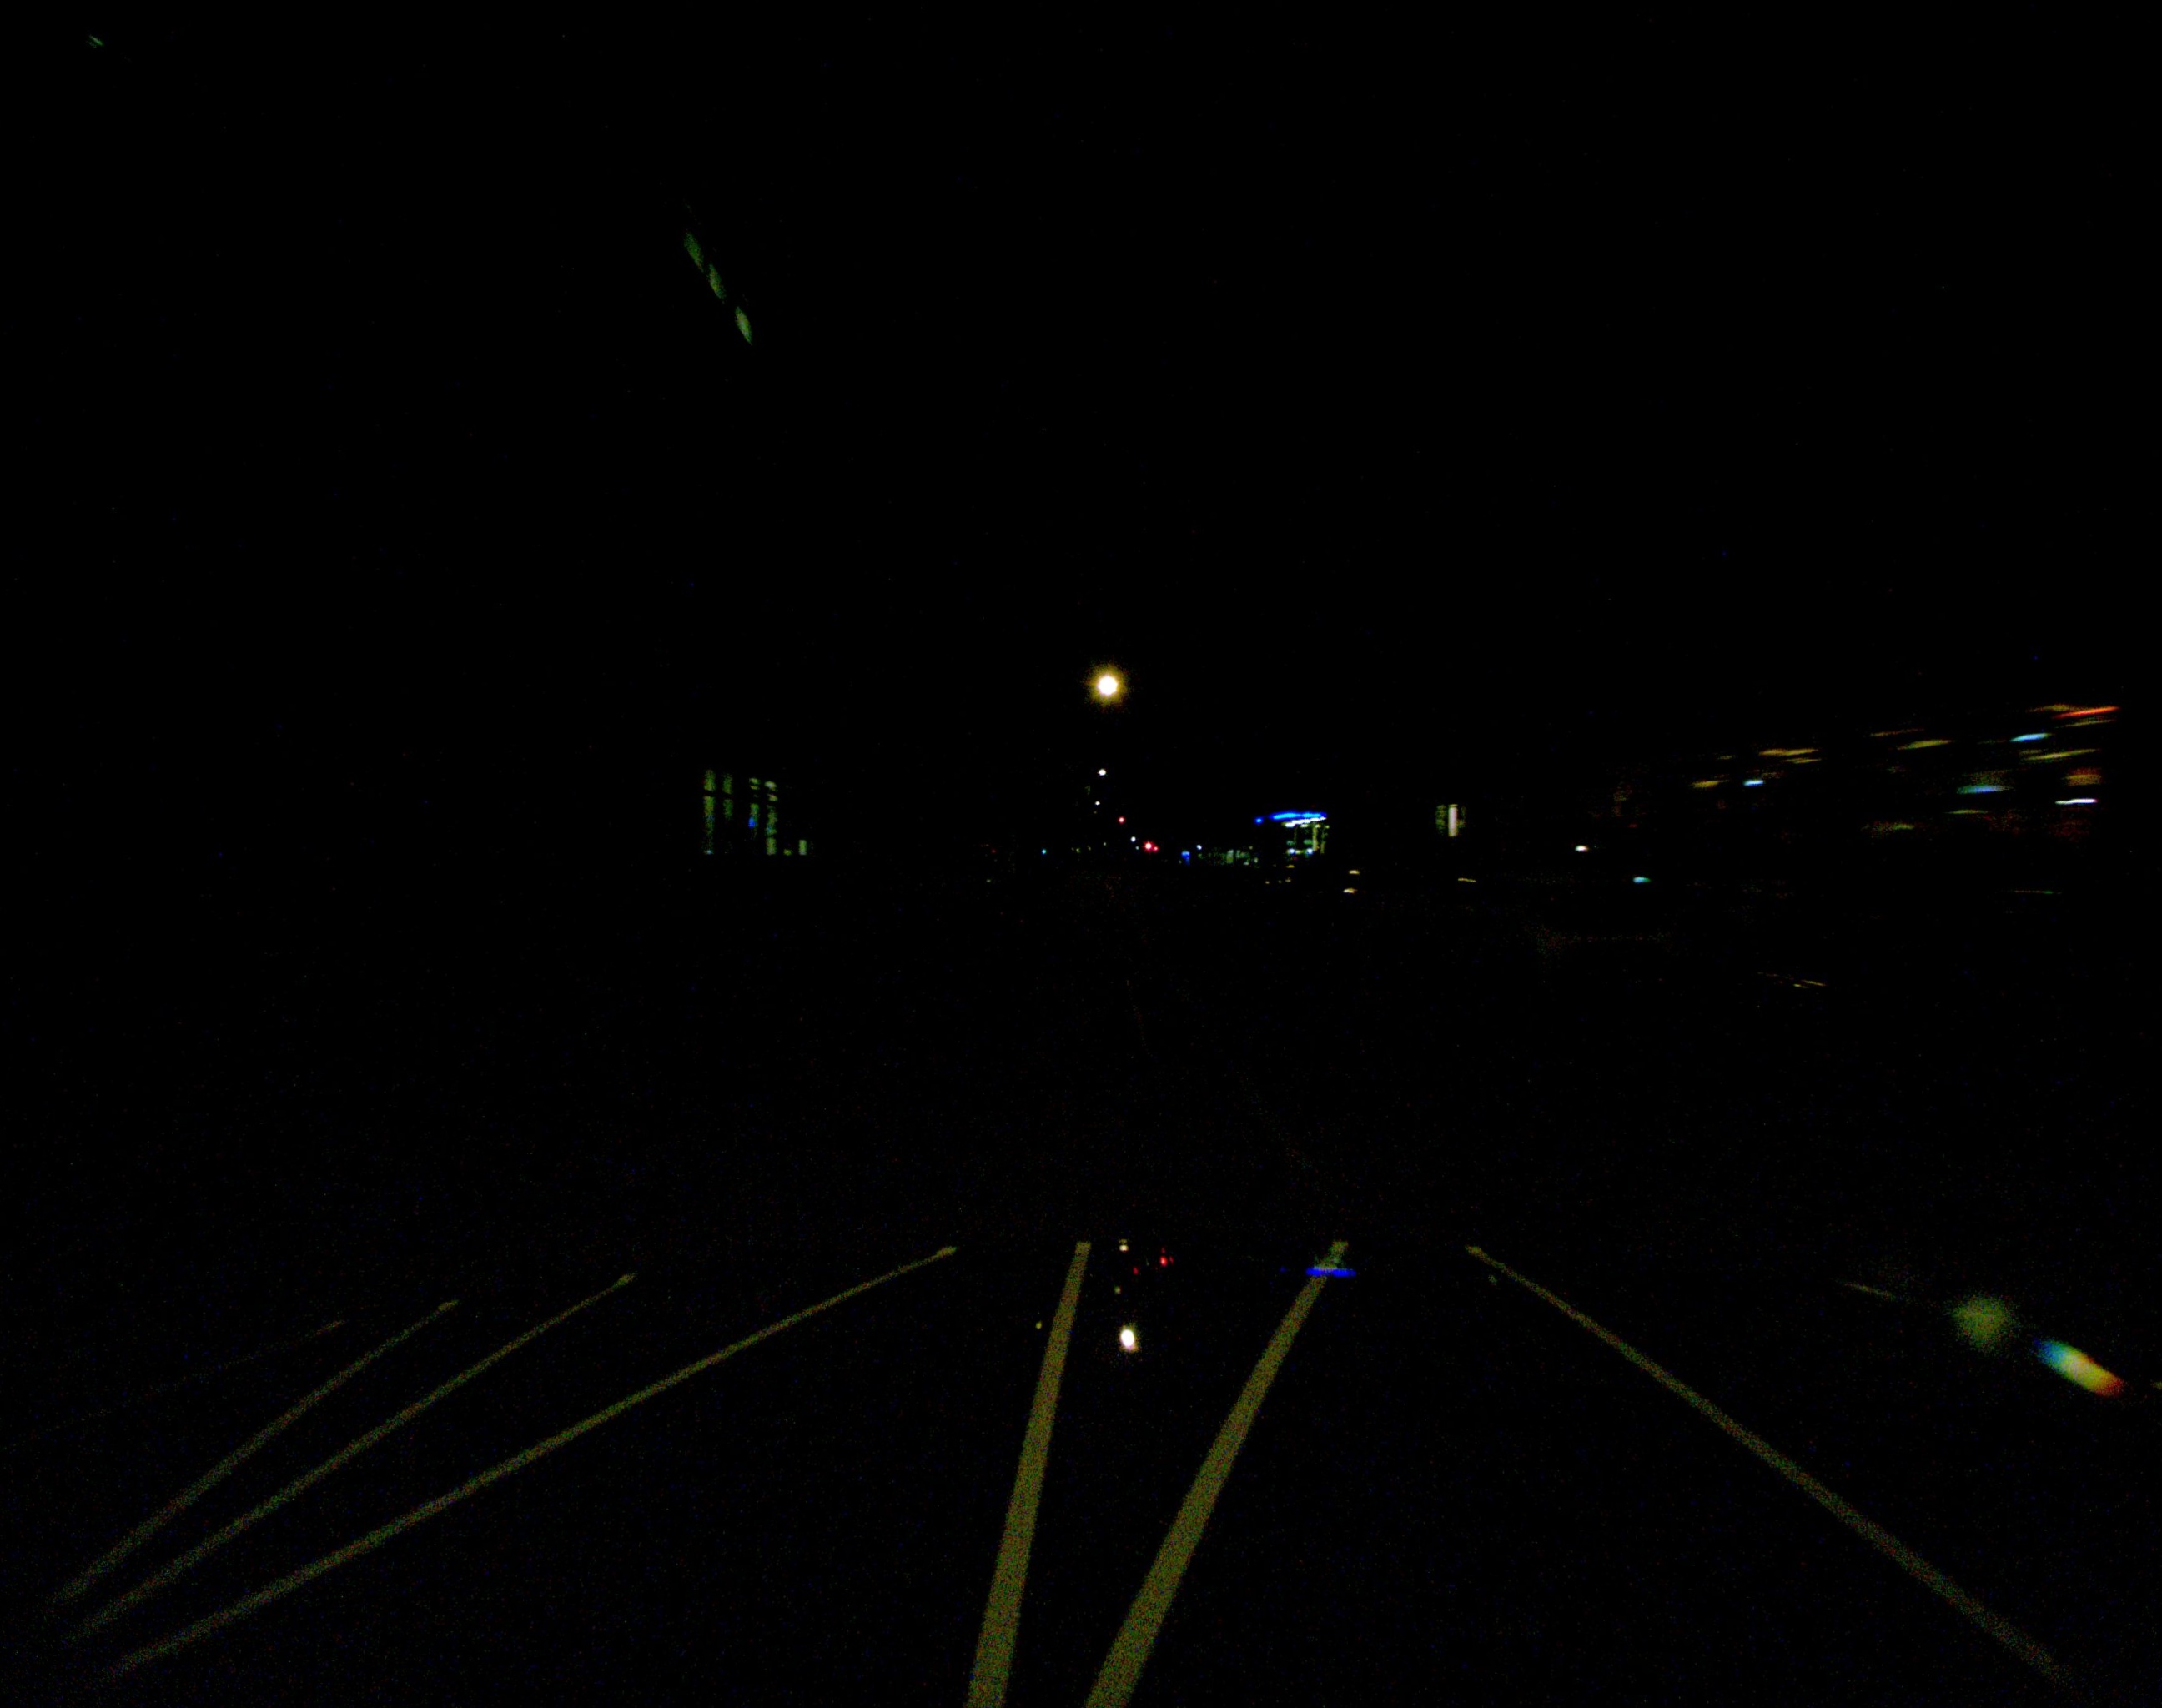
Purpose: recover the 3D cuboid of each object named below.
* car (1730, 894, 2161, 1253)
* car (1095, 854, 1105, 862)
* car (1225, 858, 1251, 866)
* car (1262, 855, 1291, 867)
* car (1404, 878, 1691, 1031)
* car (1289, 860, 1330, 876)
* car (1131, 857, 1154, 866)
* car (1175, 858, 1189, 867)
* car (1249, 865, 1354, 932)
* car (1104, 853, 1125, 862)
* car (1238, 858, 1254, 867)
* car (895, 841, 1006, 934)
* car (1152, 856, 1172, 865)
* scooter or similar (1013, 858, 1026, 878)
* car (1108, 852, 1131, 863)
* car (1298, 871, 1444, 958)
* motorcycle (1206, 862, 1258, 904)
[{"bbox_3d":[5.684,1.035,3.728,1.649,1.495,3.861,-2,-1,0],"label":"car"},{"bbox_3d":[3.656,0.758,145.586,1.936,1.646,3.833,0,0,0],"label":"car"},{"bbox_3d":[28.246,1.416,136.672,4.280,1.469,1.730,-1,0,-27],"label":"car"},{"bbox_3d":[30.782,1.094,119.525,4.082,1.848,1.853,-1,1,1],"label":"car"},{"bbox_3d":[5.657,1.118,9.719,1.551,1.447,3.368,-3,0,0],"label":"car"},{"bbox_3d":[23.516,1.466,78.217,3.759,1.524,1.670,-1,0,0],"label":"car"},{"bbox_3d":[10.676,1.299,132.003,3.763,1.577,1.634,0,1,-3],"label":"car"},{"bbox_3d":[16.979,1.454,128.129,1.864,1.452,4.070,0,0,0],"label":"car"},{"bbox_3d":[5.811,1.114,20.508,1.646,1.495,3.903,-3,0,0],"label":"car"},{"bbox_3d":[6.213,0.665,142.211,3.848,1.781,1.634,0,1,-3],"label":"car"},{"bbox_3d":[27.735,1.365,127.741,1.732,1.469,4.086,-1,0,0],"label":"car"},{"bbox_3d":[-3.028,0.721,18.610,1.956,1.952,4.603,1,0,-1],"label":"car"},{"bbox_3d":[14.699,1.219,137.826,3.575,1.689,1.634,0,1,0],"label":"car"},{"bbox_3d":[-4.197,0.941,52.028,0.548,1.196,1.910,5,2,1],"label":"scooter or similar"},{"bbox_3d":[7.015,0.630,138.586,4.055,1.879,1.634,0,1,-3],"label":"car"},{"bbox_3d":[5.824,1.140,15.743,1.448,1.421,3.903,-3,0,0],"label":"car"},{"bbox_3d":[6.007,1.120,30.167,1.909,1.541,0.638,-3,1,-19],"label":"motorcycle"}]
